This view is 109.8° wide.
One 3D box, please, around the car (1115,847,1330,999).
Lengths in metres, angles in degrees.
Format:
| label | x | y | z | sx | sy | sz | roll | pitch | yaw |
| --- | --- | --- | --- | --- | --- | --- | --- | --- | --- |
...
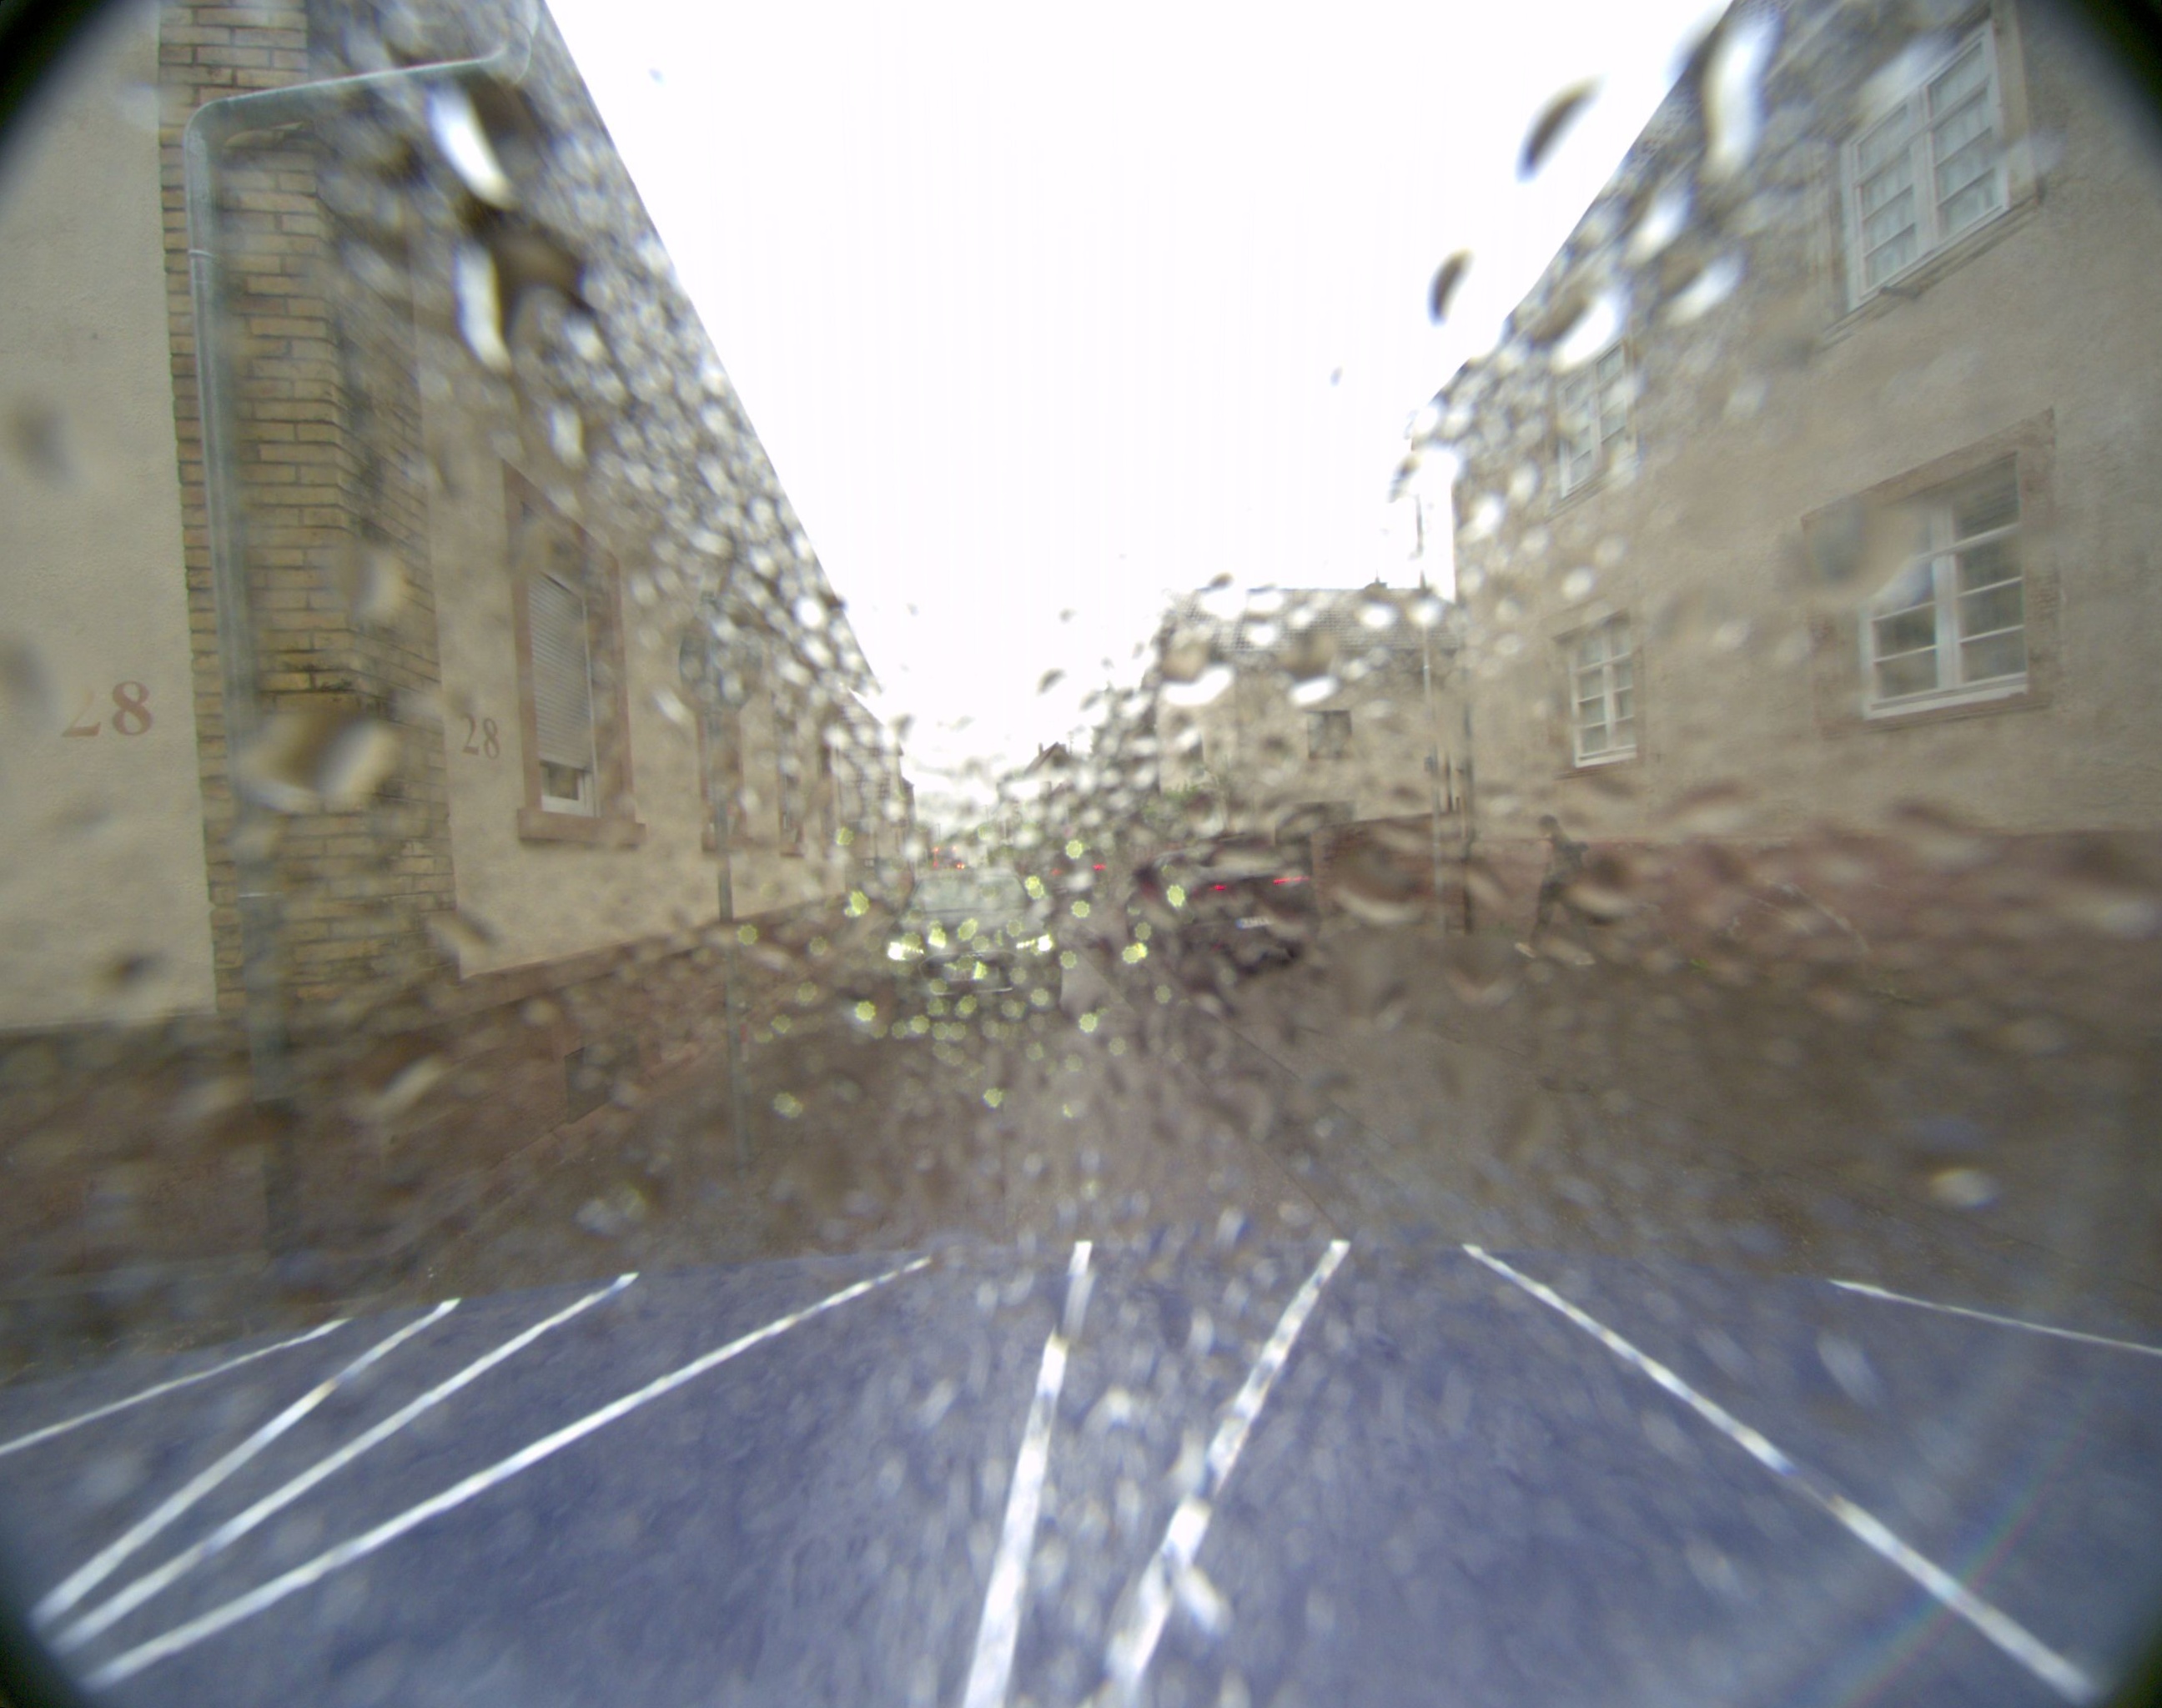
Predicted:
| label | x | y | z | sx | sy | sz | roll | pitch | yaw |
| --- | --- | --- | --- | --- | --- | --- | --- | --- | --- |
| car | 1.684 | 0.757 | 10.359 | 1.627 | 1.502 | 3.790 | -6 | 1 | -8 |

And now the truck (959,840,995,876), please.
| label | x | y | z | sx | sy | sz | roll | pitch | yaw |
| --- | --- | --- | --- | --- | --- | --- | --- | --- | --- |
| truck | -7.904 | 0.301 | 57.381 | 2.001 | 2.490 | 5.643 | -2 | 1 | -14 |

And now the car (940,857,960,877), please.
| label | x | y | z | sx | sy | sz | roll | pitch | yaw |
| --- | --- | --- | --- | --- | --- | --- | --- | --- | --- |
| car | -12.559 | 1.218 | 72.826 | 1.804 | 1.805 | 3.996 | -2 | 1 | -10 |

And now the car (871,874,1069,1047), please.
| label | x | y | z | sx | sy | sz | roll | pitch | yaw |
| --- | --- | --- | --- | --- | --- | --- | --- | --- | --- |
| car | -1.320 | 1.015 | 8.988 | 1.740 | 1.363 | 4.098 | -2 | 1 | -9 |

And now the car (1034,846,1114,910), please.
| label | x | y | z | sx | sy | sz | roll | pitch | yaw |
| --- | --- | --- | --- | --- | --- | --- | --- | --- | --- |
| car | -0.331 | 0.661 | 23.812 | 1.786 | 1.655 | 4.422 | -5 | 2 | -8 |

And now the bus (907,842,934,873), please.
| label | x | y | z | sx | sy | sz | roll | pitch | yaw |
| --- | --- | --- | --- | --- | --- | --- | --- | --- | --- |
| bus | -18.027 | 0.329 | 85.375 | 2.670 | 3.213 | 12.178 | -2 | 1 | -12 |

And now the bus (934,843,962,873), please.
| label | x | y | z | sx | sy | sz | roll | pitch | yaw |
| --- | --- | --- | --- | --- | --- | --- | --- | --- | --- |
| bus | -15.747 | 0.381 | 89.170 | 2.670 | 3.213 | 12.178 | -2 | 1 | -12 |

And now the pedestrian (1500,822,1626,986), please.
| label | x | y | z | sx | sy | sz | roll | pitch | yaw |
| --- | --- | --- | --- | --- | --- | --- | --- | --- | --- |
| pedestrian | 4.884 | 0.484 | 7.739 | 0.574 | 1.529 | 0.832 | -6 | 1 | -12 |
